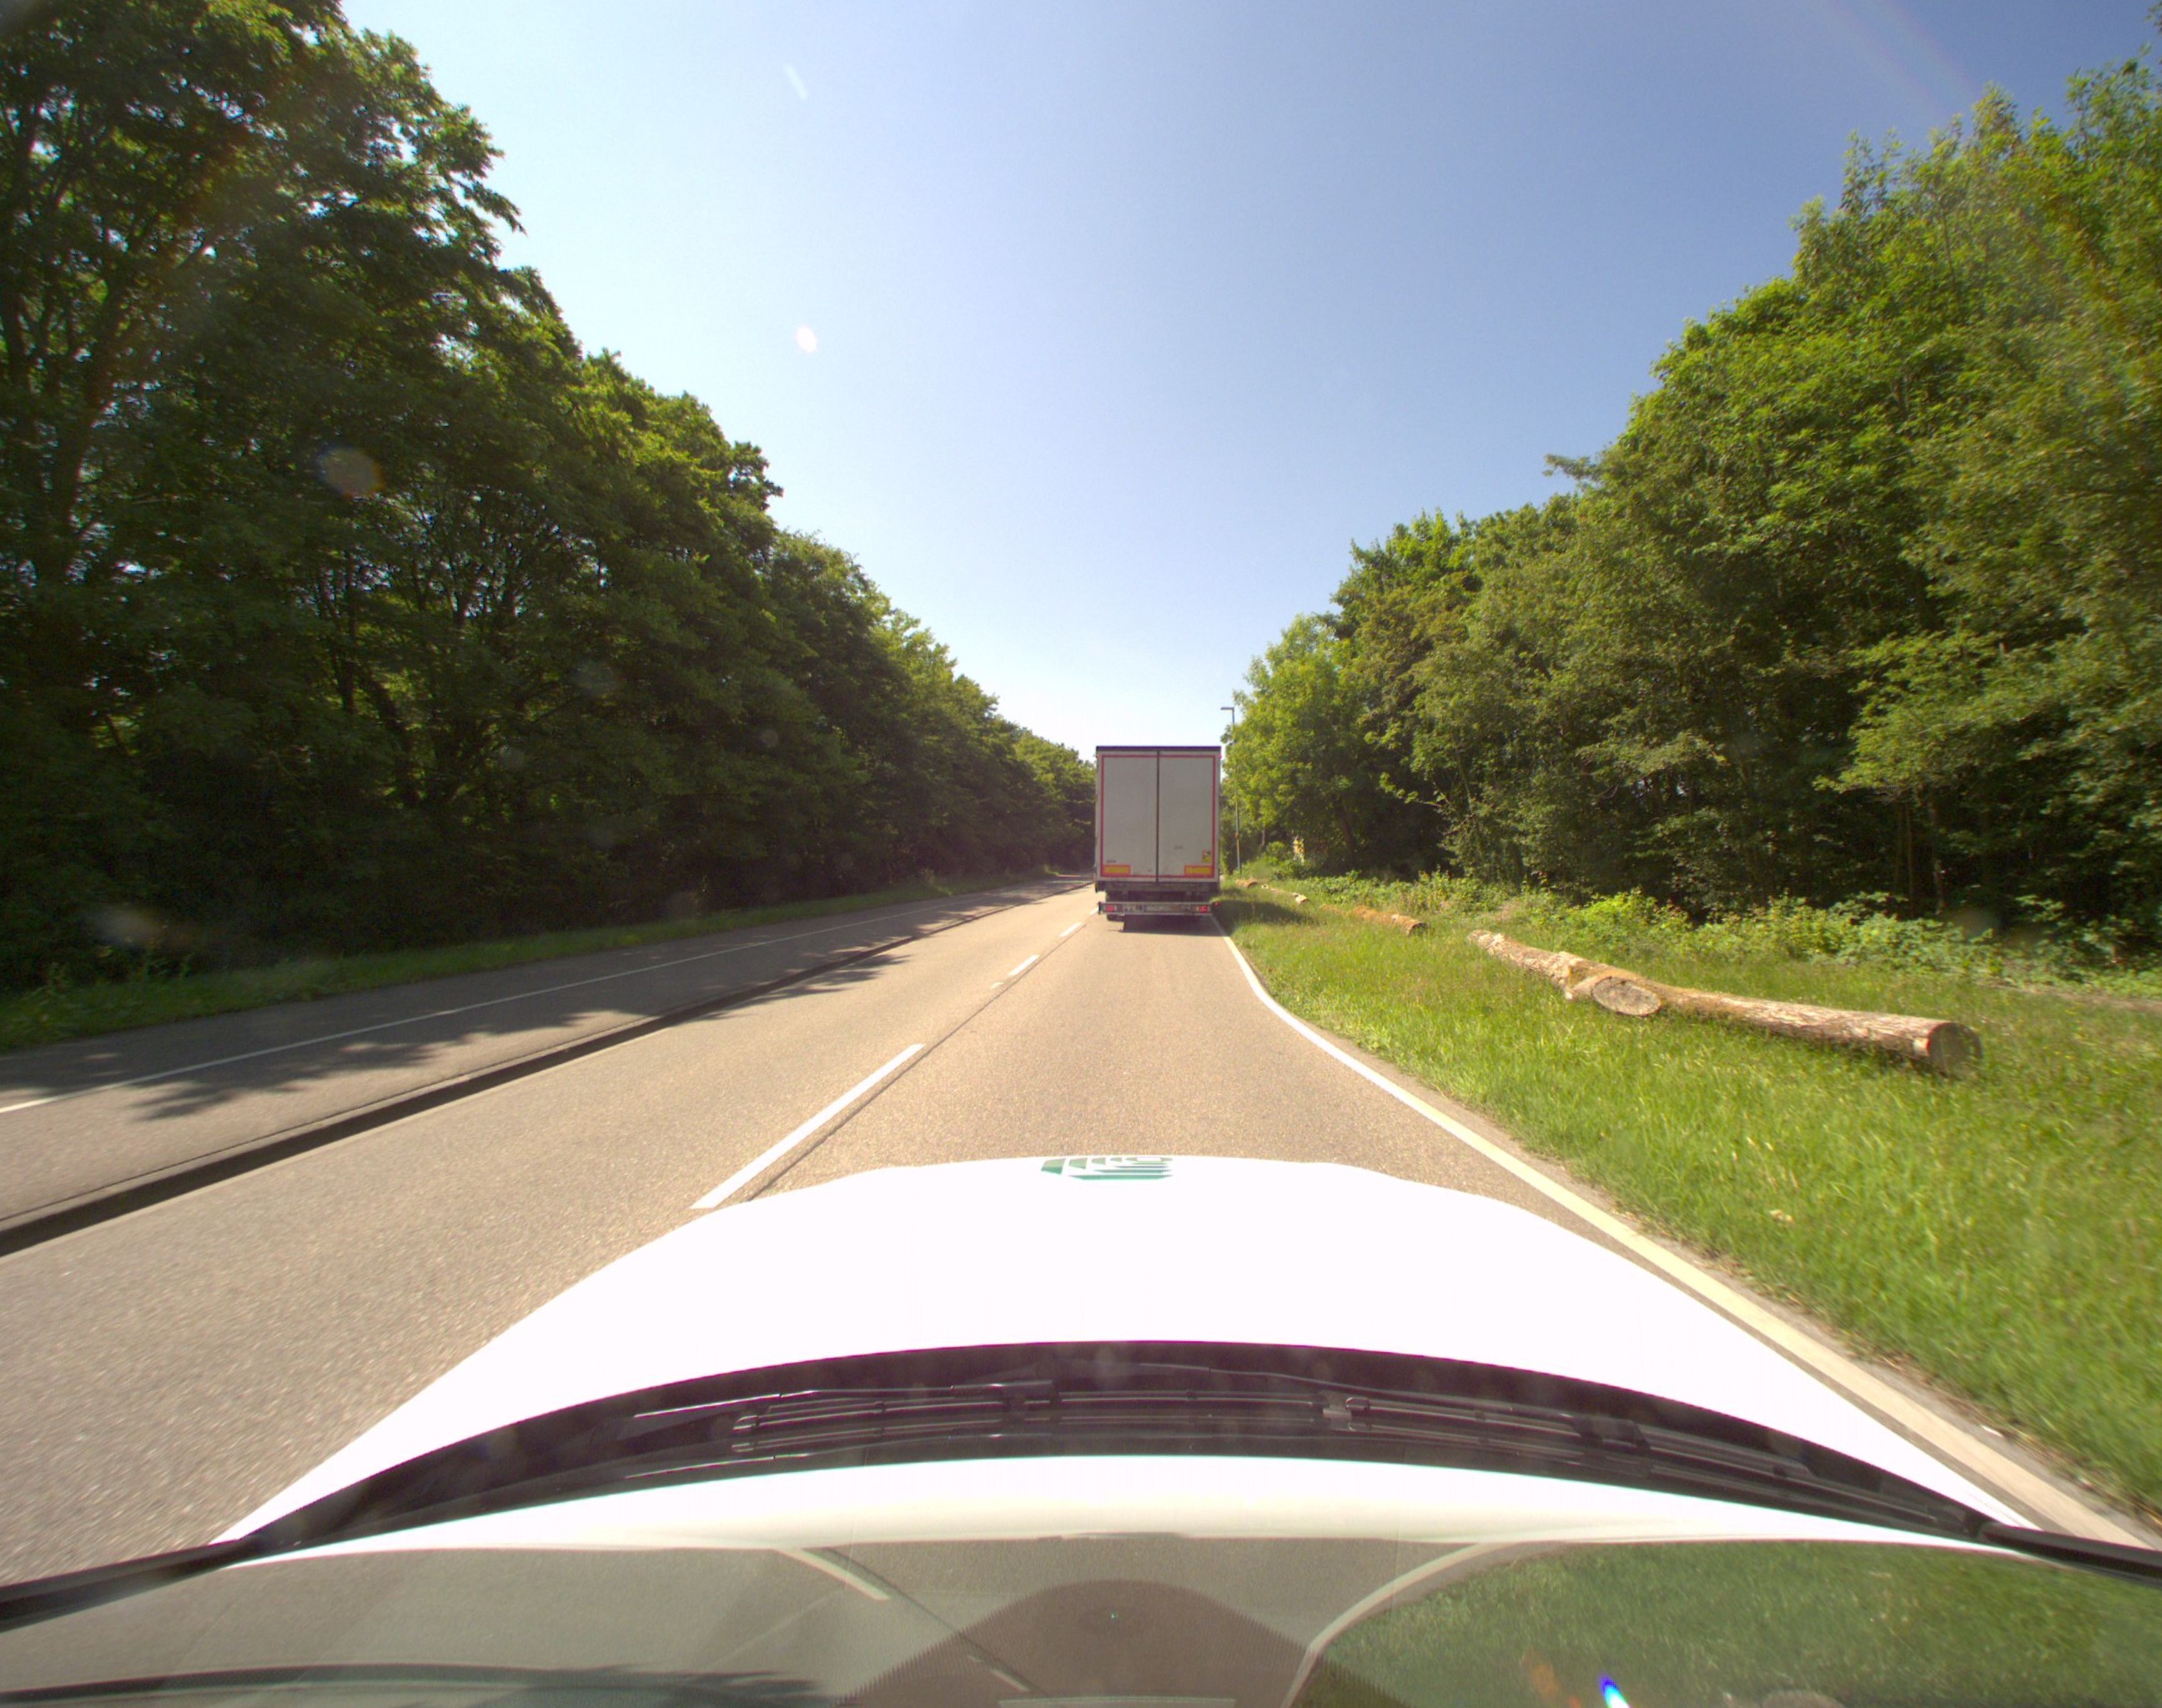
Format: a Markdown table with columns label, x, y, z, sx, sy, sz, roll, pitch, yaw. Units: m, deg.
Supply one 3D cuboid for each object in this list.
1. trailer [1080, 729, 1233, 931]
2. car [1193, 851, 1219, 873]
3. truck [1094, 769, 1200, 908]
| label | x | y | z | sx | sy | sz | roll | pitch | yaw |
| --- | --- | --- | --- | --- | --- | --- | --- | --- | --- |
| trailer | 1.809 | -0.464 | 21.341 | 3.064 | 4.070 | 9.817 | 0 | 0 | 3 |
| car | 9.267 | 0.575 | 60.643 | 1.702 | 1.530 | 3.856 | -1 | 0 | 5 |
| truck | 2.230 | -0.424 | 28.183 | 3.064 | 4.070 | 7.966 | -1 | -1 | 4 |
